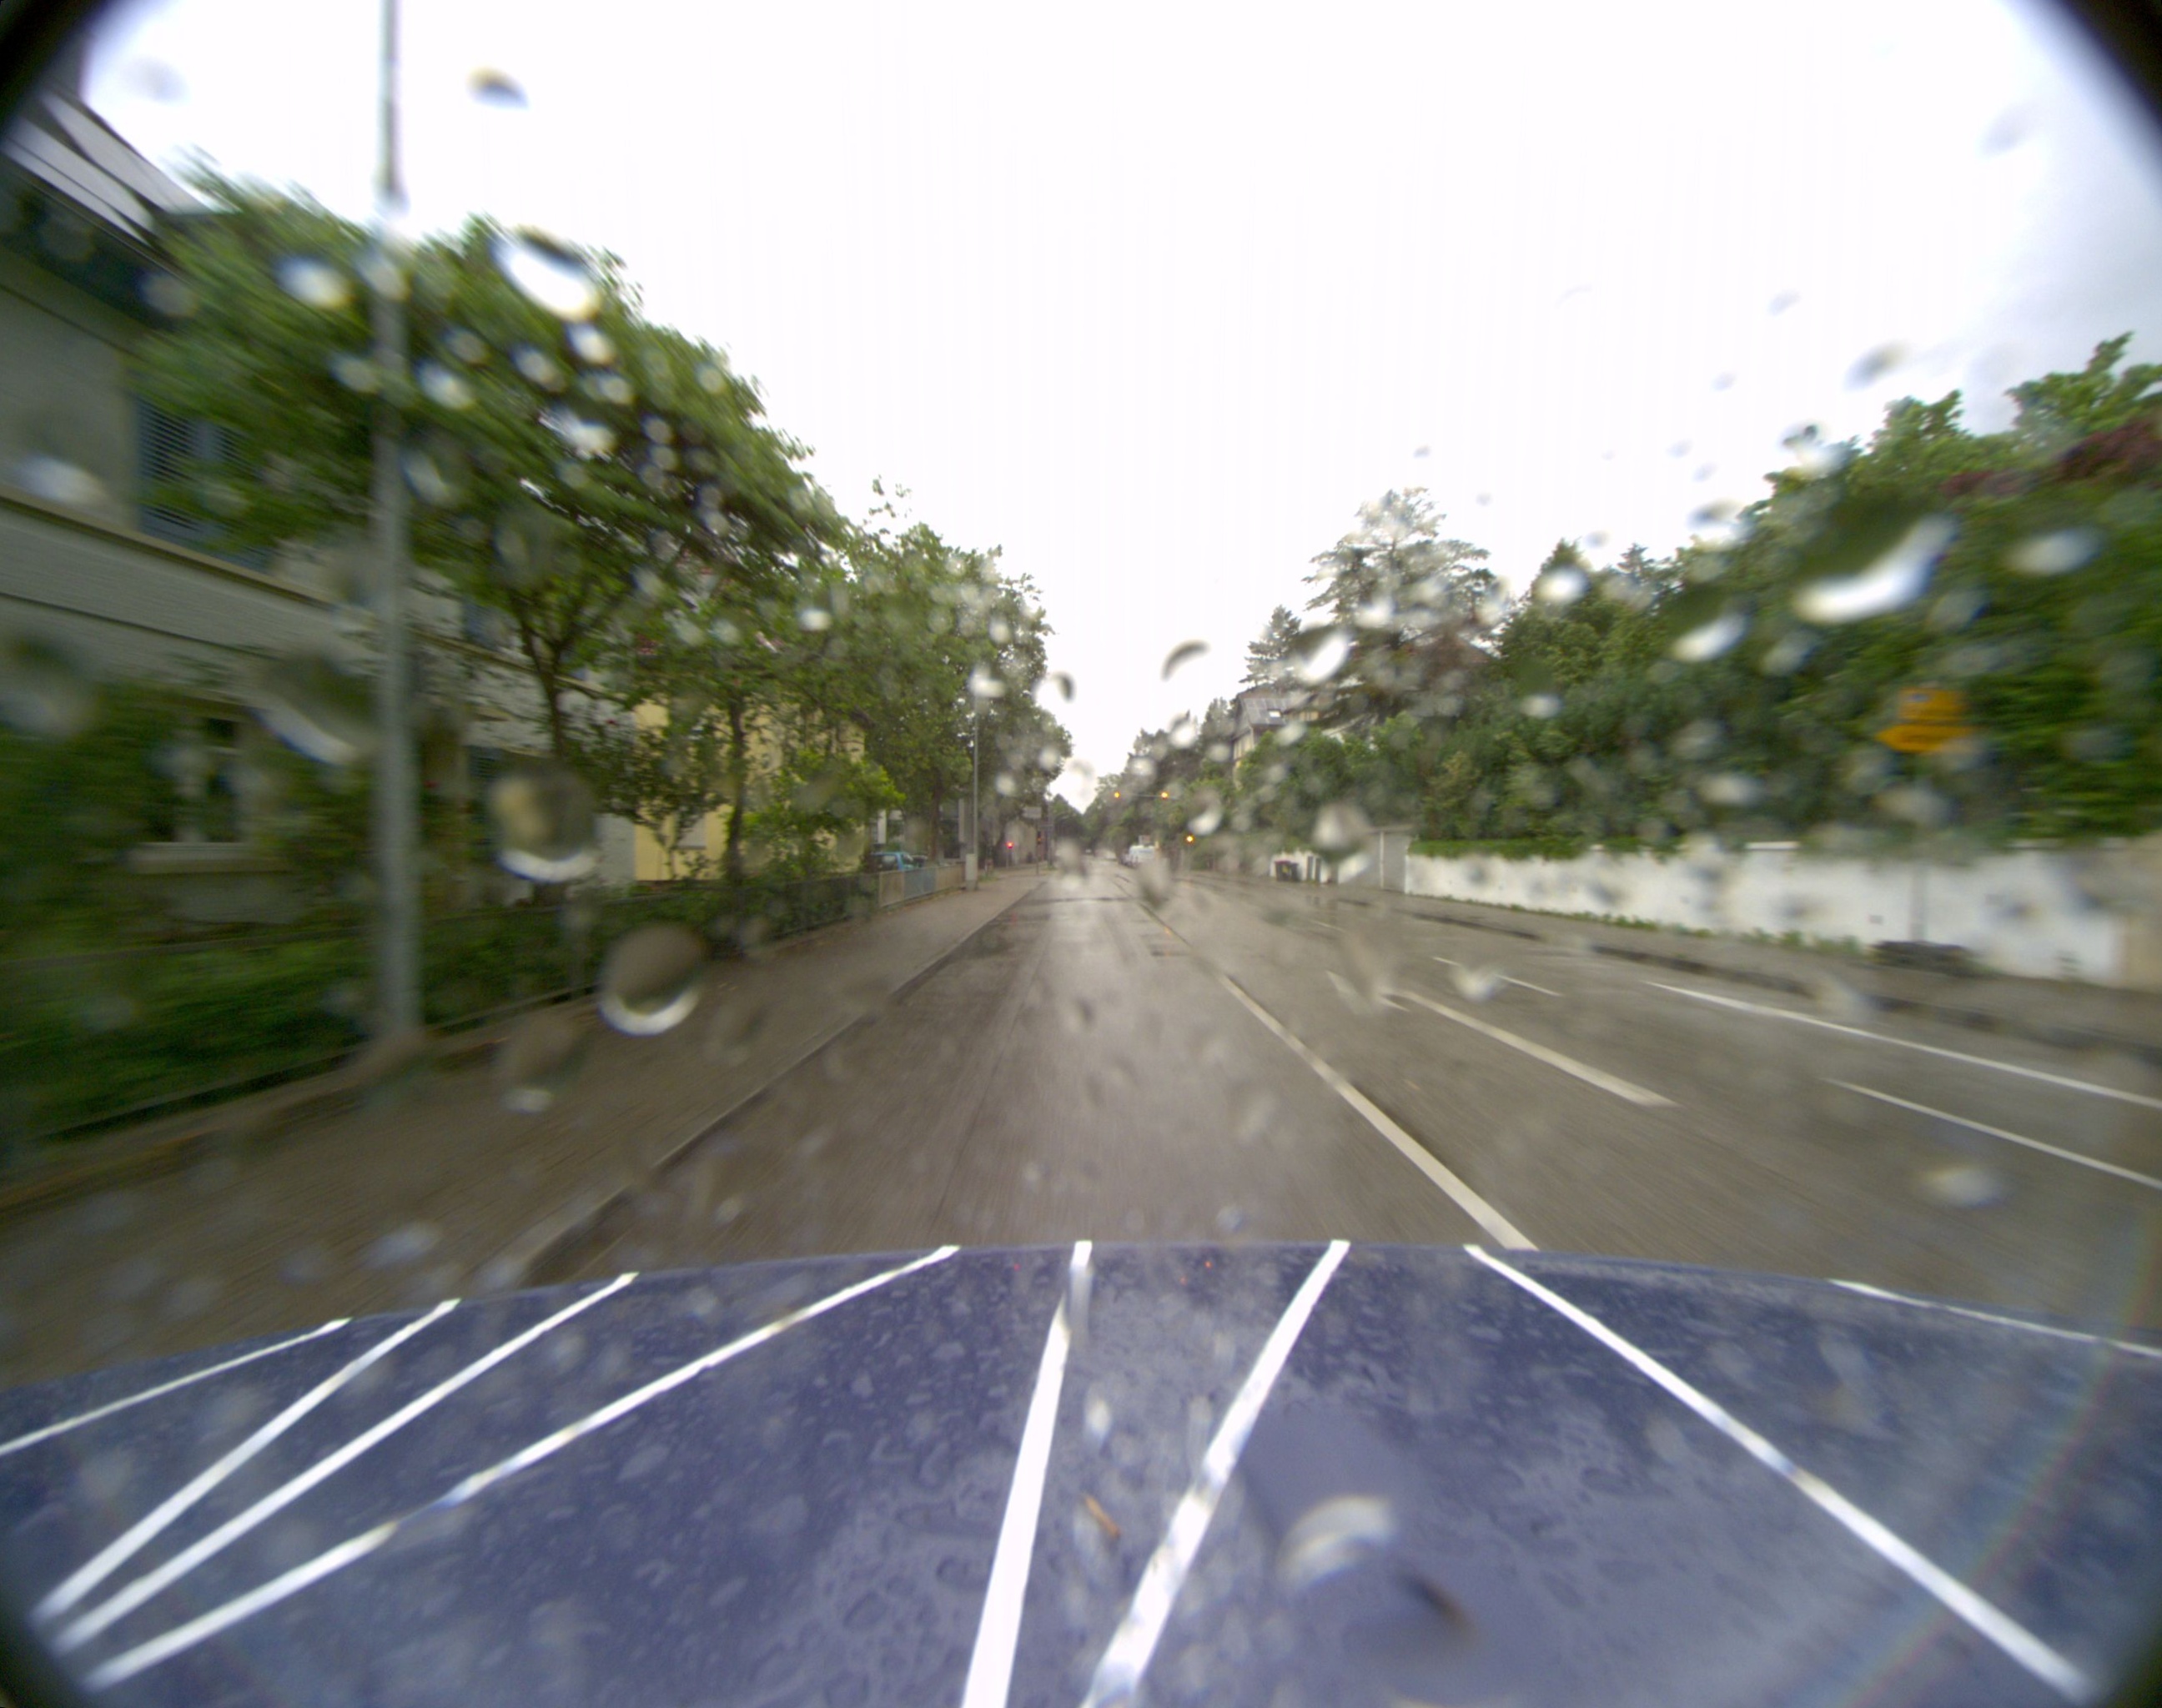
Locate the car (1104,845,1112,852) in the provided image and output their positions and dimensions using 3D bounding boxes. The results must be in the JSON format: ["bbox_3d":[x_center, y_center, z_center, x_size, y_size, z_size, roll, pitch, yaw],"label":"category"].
[{"bbox_3d":[7.546,-1.596,211.812,1.923,1.889,4.003,0,1,9],"label":"car"}]

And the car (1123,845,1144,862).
[{"bbox_3d":[6.736,-0.108,97.357,2.162,1.944,4.915,4,0,-1],"label":"car"}]

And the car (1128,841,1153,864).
[{"bbox_3d":[6.715,-0.190,86.472,2.162,2.454,4.915,4,0,-1],"label":"car"}]

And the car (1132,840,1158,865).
[{"bbox_3d":[6.721,-0.142,79.849,2.085,2.464,4.852,4,1,-1],"label":"car"}]

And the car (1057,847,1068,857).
[{"bbox_3d":[-3.289,-0.376,137.015,1.925,1.889,3.999,0,1,0],"label":"car"}]

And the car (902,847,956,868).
[{"bbox_3d":[-12.724,0.302,63.766,4.227,1.677,1.709,-1,1,-6],"label":"car"}]

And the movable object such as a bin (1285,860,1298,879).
[{"bbox_3d":[10.544,0.775,38.045,0.544,0.935,0.416,0,1,-2],"label":"movable object such as a bin"}]

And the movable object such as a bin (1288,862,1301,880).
[{"bbox_3d":[10.558,0.826,37.554,0.532,0.893,0.416,0,1,-2],"label":"movable object such as a bin"}]

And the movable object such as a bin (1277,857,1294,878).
[{"bbox_3d":[10.435,0.691,38.868,0.683,1.034,0.657,0,1,-2],"label":"movable object such as a bin"}]

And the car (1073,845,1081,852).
[{"bbox_3d":[-1.042,-1.569,206.251,1.924,1.889,4.001,0,1,6],"label":"car"}]

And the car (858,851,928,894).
[{"bbox_3d":[-6.978,0.648,28.553,1.673,1.462,3.525,0,1,1],"label":"car"}]

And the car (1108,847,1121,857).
[{"bbox_3d":[5.727,-0.314,130.816,1.925,1.747,3.999,0,1,0],"label":"car"}]

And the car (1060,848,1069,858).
[{"bbox_3d":[-3.406,-0.244,156.980,1.925,1.889,3.999,0,1,0],"label":"car"}]

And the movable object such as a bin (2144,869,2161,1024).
[{"bbox_3d":[10.502,0.855,6.739,0.935,1.437,0.861,-2,2,0],"label":"movable object such as a bin"}]
